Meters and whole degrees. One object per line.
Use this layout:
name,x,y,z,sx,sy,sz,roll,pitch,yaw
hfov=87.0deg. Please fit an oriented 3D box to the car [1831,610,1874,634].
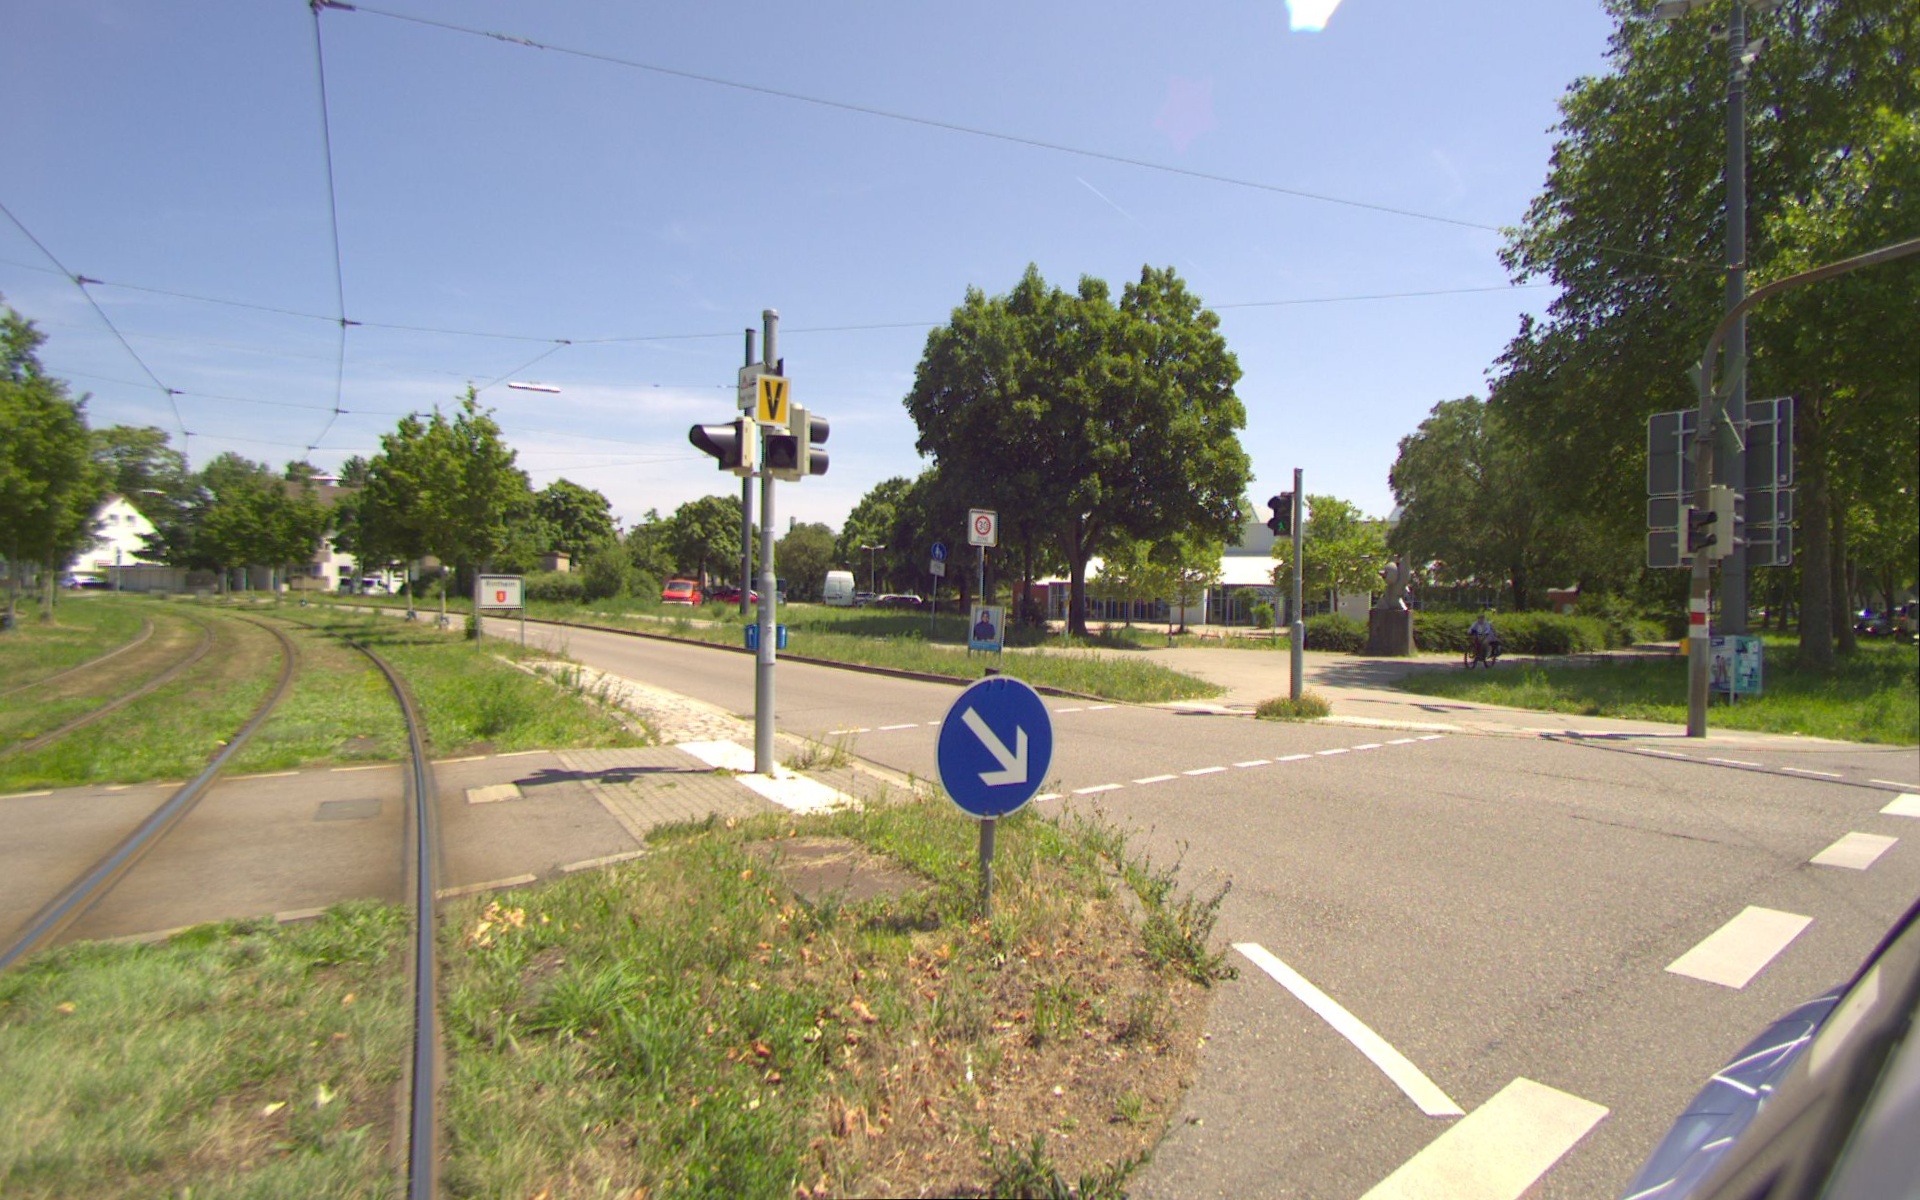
car,72.219,1.762,81.940,1.986,1.861,3.952,1,0,33

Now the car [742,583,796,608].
car,-16.116,-0.368,85.358,4.331,2.039,2.250,1,-1,-11

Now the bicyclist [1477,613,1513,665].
bicyclist,14.311,1.026,27.075,0.653,1.356,0.601,1,-1,-32

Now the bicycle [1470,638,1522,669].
bicycle,14.339,1.426,27.065,1.635,0.774,0.465,1,-1,-31

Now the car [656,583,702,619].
car,-17.181,0.068,62.098,2.032,2.028,4.669,1,0,-7

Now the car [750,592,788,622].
car,-11.487,0.419,60.927,1.917,1.740,4.075,1,0,-6

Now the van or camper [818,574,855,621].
van or camper,-7.662,-0.148,63.304,2.159,2.786,5.135,1,0,-6

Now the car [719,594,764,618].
car,-15.772,0.421,73.075,3.018,1.624,1.516,1,0,-7

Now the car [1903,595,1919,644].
car,55.526,1.127,57.342,2.909,2.688,6.269,1,0,42

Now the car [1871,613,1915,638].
car,66.024,1.787,71.657,1.990,1.638,3.943,1,0,39
